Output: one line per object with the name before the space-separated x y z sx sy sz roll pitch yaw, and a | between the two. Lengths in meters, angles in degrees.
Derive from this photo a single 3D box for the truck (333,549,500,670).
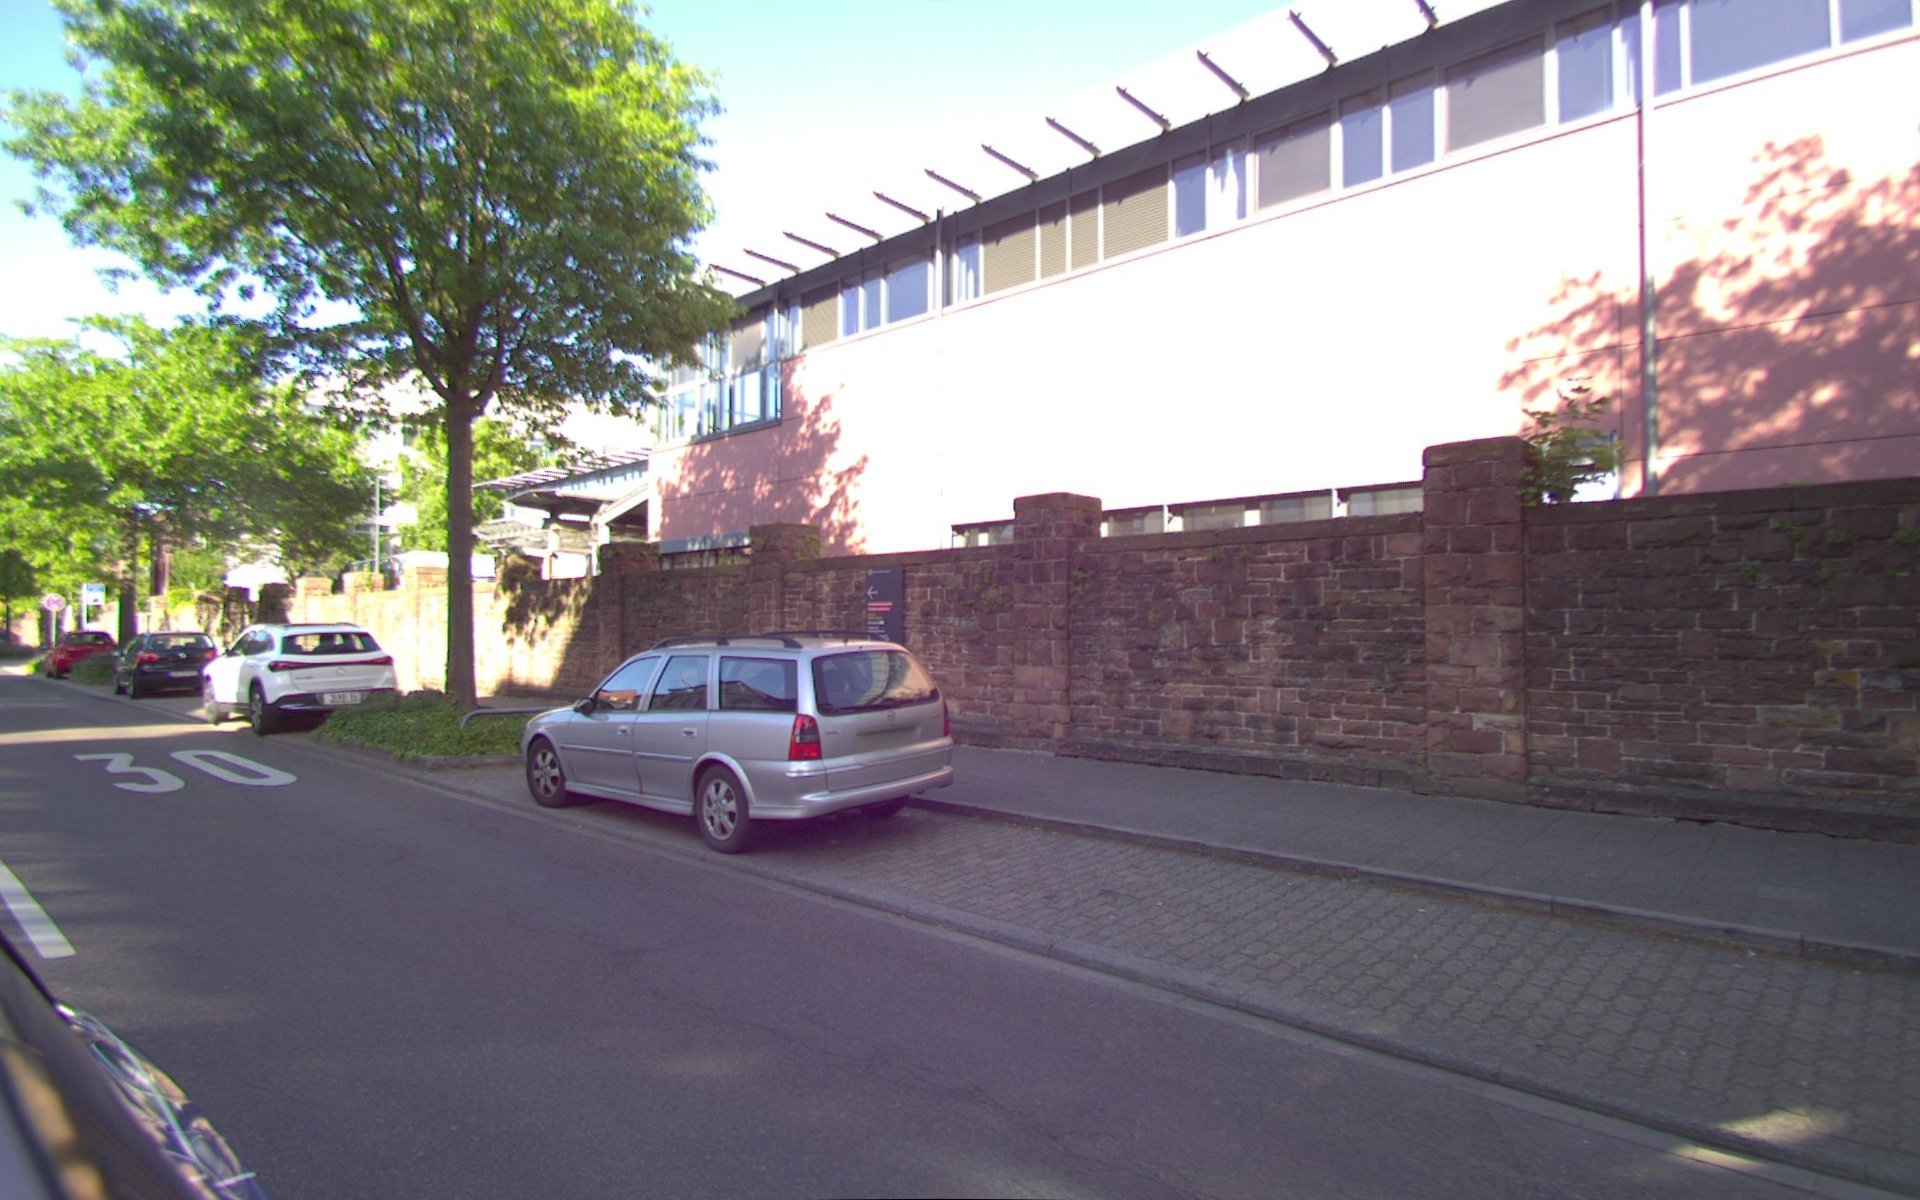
truck | -18.851 0.358 34.839 7.426 3.739 2.703 -2 -1 42

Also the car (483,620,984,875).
car | -2.060 0.956 8.240 4.477 1.487 1.708 -2 -1 42

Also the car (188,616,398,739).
car | -10.705 1.145 16.120 4.348 1.696 1.702 -2 -2 41

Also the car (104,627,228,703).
car | -18.562 1.449 23.605 4.107 1.604 1.718 -2 -2 44

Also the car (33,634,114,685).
car | -28.452 1.862 32.451 3.708 1.470 1.591 -2 -1 43

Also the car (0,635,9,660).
car | -56.662 2.798 58.839 3.838 1.432 1.669 -2 -1 42
